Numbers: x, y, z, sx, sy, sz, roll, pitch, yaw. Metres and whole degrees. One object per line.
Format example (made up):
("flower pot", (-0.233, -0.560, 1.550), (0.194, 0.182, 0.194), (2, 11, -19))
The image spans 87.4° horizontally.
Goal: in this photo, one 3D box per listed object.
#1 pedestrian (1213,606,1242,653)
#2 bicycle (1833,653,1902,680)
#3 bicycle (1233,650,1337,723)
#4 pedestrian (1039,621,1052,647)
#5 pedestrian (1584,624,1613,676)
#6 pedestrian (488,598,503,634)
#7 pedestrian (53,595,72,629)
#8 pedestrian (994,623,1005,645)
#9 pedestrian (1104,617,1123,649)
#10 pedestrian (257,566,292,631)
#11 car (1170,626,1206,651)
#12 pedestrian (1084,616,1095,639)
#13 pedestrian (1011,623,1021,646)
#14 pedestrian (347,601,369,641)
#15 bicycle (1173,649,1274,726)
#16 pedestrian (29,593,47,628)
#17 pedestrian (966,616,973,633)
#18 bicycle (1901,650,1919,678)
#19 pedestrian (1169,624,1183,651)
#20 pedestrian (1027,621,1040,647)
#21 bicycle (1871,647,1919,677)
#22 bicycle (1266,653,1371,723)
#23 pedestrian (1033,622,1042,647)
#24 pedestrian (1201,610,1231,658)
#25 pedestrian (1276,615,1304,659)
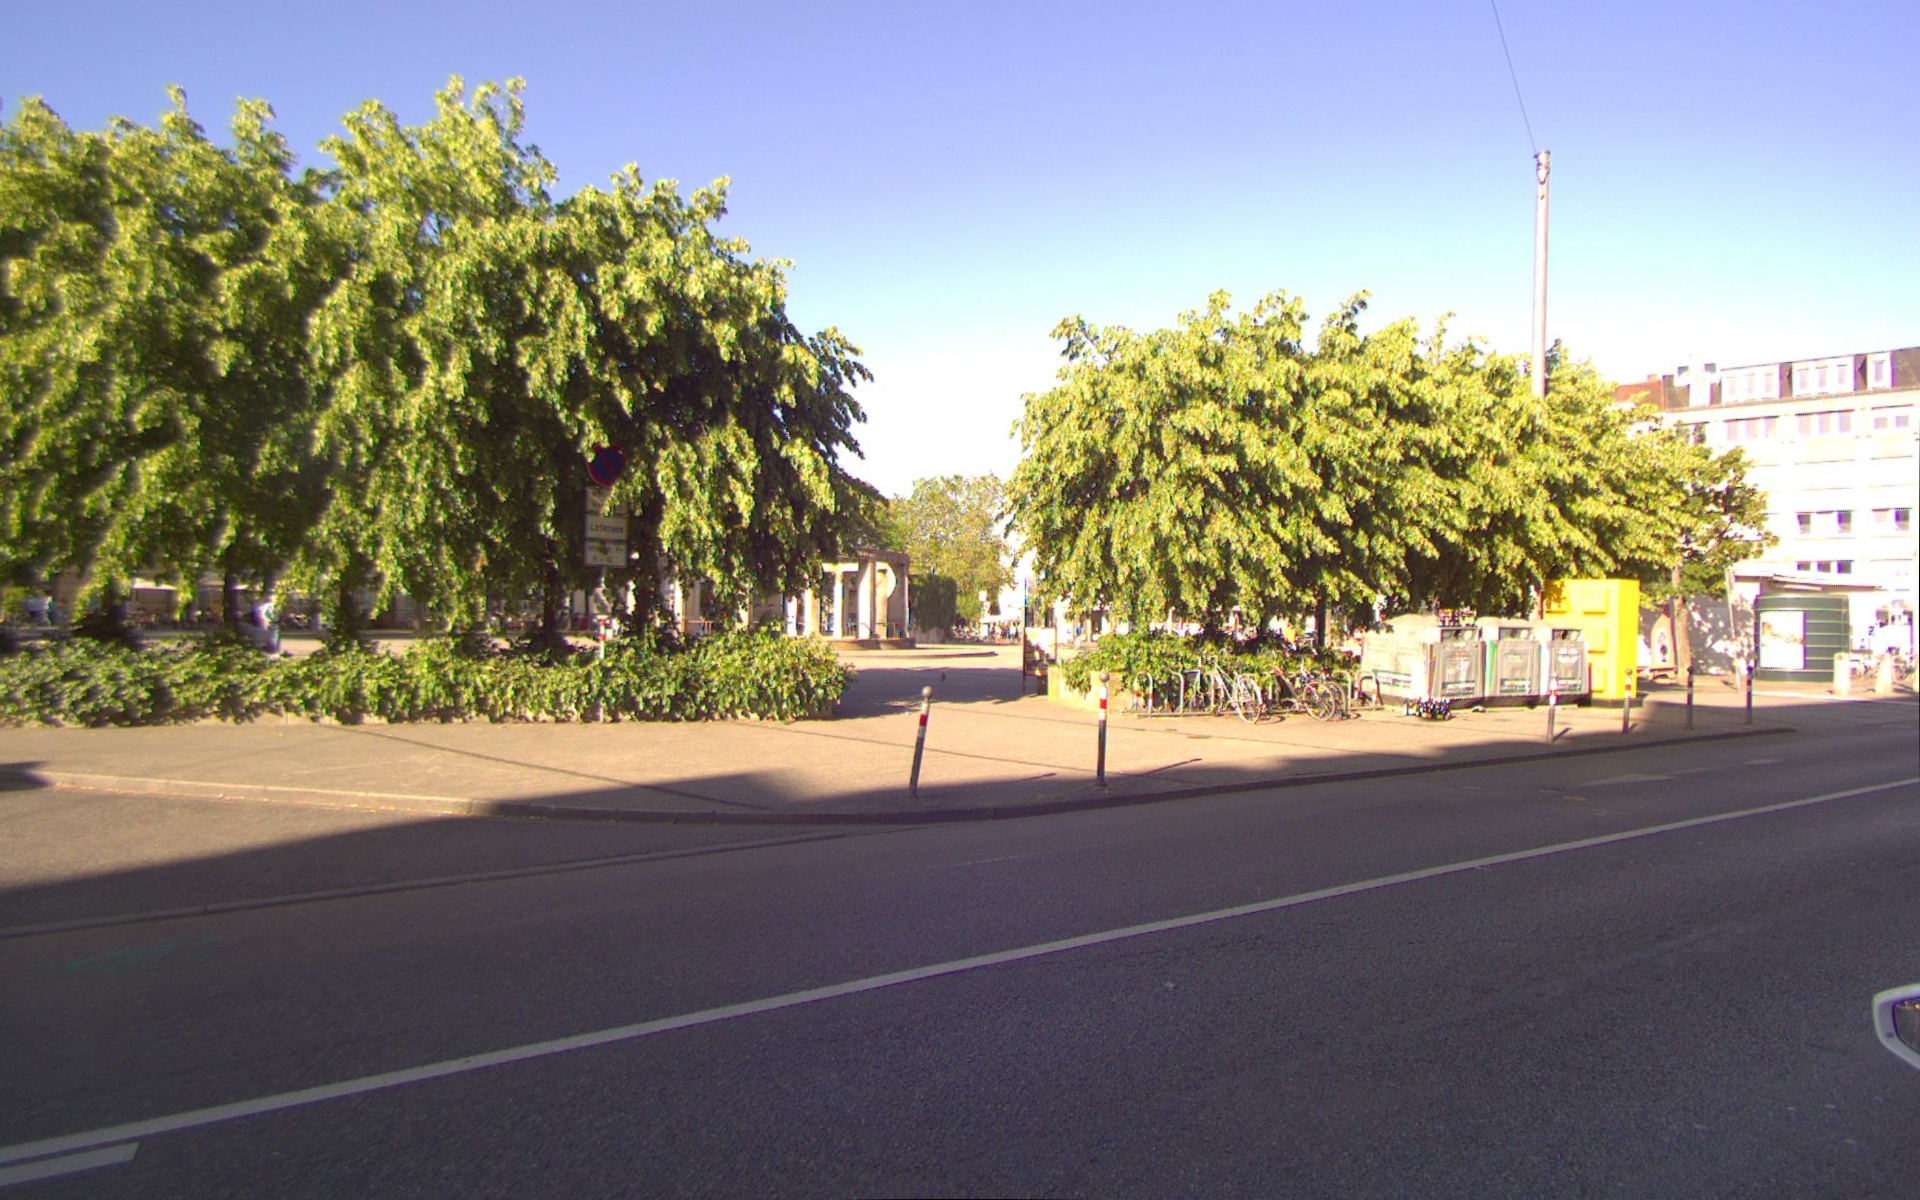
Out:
("pedestrian", (11.858, 1.296, 44.540), (0.875, 2.040, 0.896), (1, 0, -17))
("bicycle", (30.817, 2.248, 34.125), (0.600, 0.802, 1.634), (2, 0, -33))
("bicycle", (5.237, 1.369, 16.316), (0.508, 1.016, 1.923), (2, 0, -20))
("pedestrian", (6.889, 2.758, 80.933), (0.860, 2.040, 0.902), (2, 0, -5))
("pedestrian", (21.718, 1.714, 34.176), (0.700, 1.739, 0.475), (2, 0, -20))
("pedestrian", (-26.318, 0.898, 56.875), (0.669, 1.974, 0.634), (2, 0, -33))
("pedestrian", (-46.096, 0.607, 51.582), (0.600, 1.744, 0.643), (2, 0, 45))
("pedestrian", (3.727, 3.189, 93.969), (0.860, 2.040, 0.902), (2, 0, -5))
("pedestrian", (9.966, 2.156, 65.253), (1.014, 2.040, 1.159), (1, -1, -5))
("pedestrian", (-18.717, -0.050, 27.427), (0.599, 1.744, 0.644), (2, 0, 41))
("car", (14.070, 2.363, 62.240), (1.658, 1.405, 3.575), (1, -1, 5))
("pedestrian", (12.857, 2.700, 99.485), (0.860, 2.199, 0.902), (2, 0, -5))
("pedestrian", (4.562, 2.817, 81.596), (0.718, 1.862, 0.697), (2, 0, -5))
("pedestrian", (-26.683, 0.916, 44.513), (0.599, 1.744, 0.644), (2, 0, 37))
("bicycle", (4.066, 1.328, 15.654), (0.508, 1.029, 1.930), (2, 0, -19))
("pedestrian", (-47.226, 0.552, 51.451), (0.600, 1.744, 0.643), (2, 0, 45))
("pedestrian", (1.152, 2.882, 118.600), (0.629, 1.974, 0.675), (2, 0, -14))
("bicycle", (35.082, 2.335, 36.029), (0.599, 0.946, 1.854), (2, 0, -30))
("pedestrian", (14.221, 2.436, 66.153), (0.741, 1.740, 0.854), (1, -1, 4))
("pedestrian", (5.927, 2.768, 80.850), (0.860, 2.040, 0.902), (2, 0, -5))
("bicycle", (33.181, 2.174, 35.118), (0.599, 0.946, 1.855), (1, 0, -30))
("bicycle", (5.822, 1.404, 16.415), (0.508, 0.968, 1.898), (2, 0, -20))
("pedestrian", (6.423, 2.857, 83.430), (0.628, 1.974, 0.676), (2, 0, -7))
("pedestrian", (11.133, 1.467, 43.709), (0.875, 2.040, 0.896), (1, 0, -17))
("pedestrian", (13.149, 1.457, 40.043), (0.774, 1.720, 0.763), (1, 0, -6))
